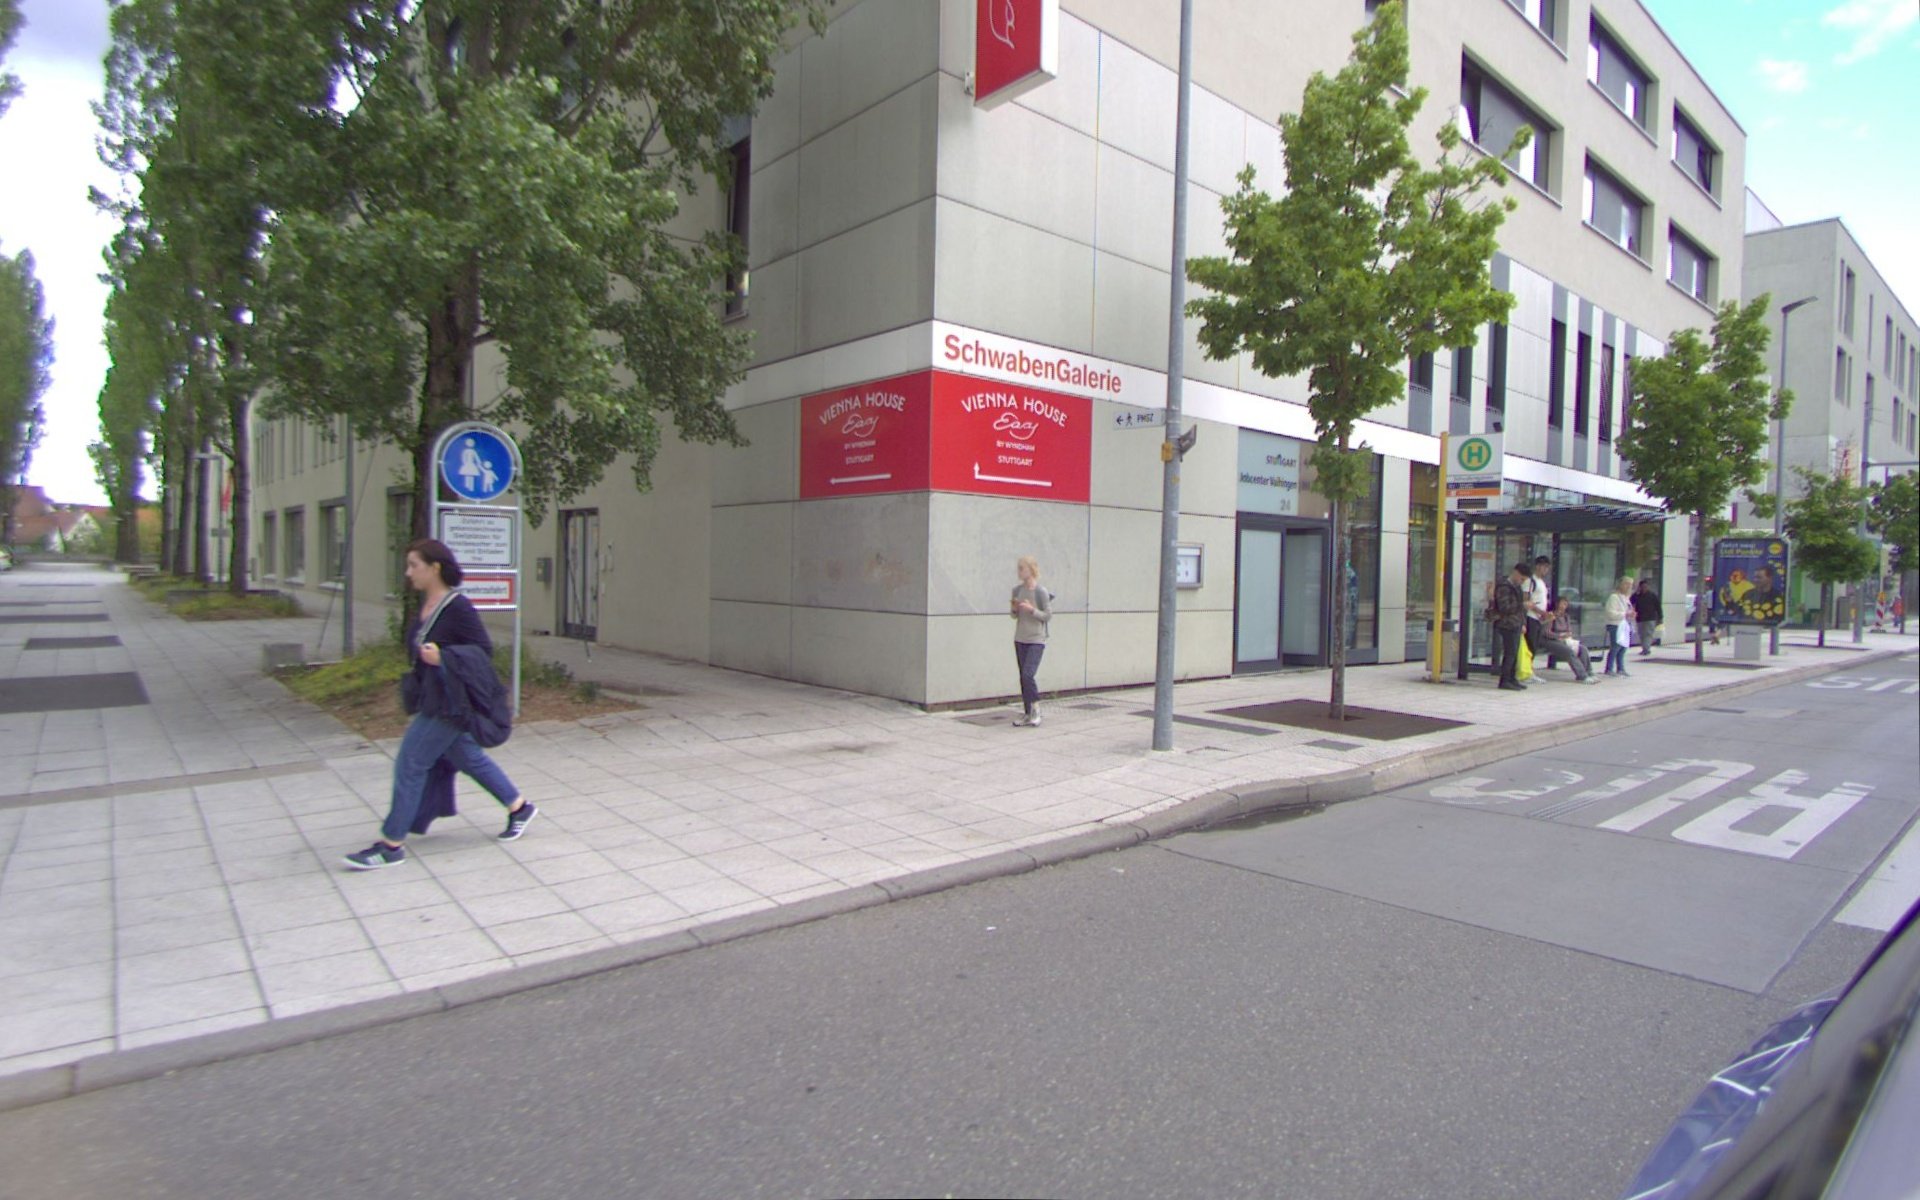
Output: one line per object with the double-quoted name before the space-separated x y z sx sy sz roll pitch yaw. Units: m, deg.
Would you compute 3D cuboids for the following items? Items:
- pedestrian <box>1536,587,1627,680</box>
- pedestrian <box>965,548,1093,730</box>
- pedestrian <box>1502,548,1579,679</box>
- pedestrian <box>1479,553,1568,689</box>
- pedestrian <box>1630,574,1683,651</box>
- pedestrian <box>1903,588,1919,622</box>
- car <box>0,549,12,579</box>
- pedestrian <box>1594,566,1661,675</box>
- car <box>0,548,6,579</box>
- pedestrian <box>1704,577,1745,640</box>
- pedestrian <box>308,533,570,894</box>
"pedestrian" 9.133 0.467 14.883 0.720 1.274 0.944 -1 3 -43
"pedestrian" 0.642 0.322 9.505 0.790 1.603 0.870 0 2 -41
"pedestrian" 8.240 0.171 14.364 0.840 1.791 0.581 0 3 -35
"pedestrian" 7.400 0.252 13.295 0.719 1.704 0.723 0 3 -35
"pedestrian" 15.073 0.253 21.912 0.702 1.628 0.742 0 2 -40
"pedestrian" 45.178 0.237 47.928 0.719 1.586 0.590 0 3 -41
"car" -55.659 -1.991 55.913 4.707 1.675 1.739 -1 0 -41
"pedestrian" 10.277 0.298 15.591 0.719 1.610 0.581 0 3 -35
"car" -54.526 -1.996 54.344 4.707 1.675 1.739 -1 0 -41
"pedestrian" 21.023 0.216 27.829 0.603 1.689 0.746 0 2 -40
"pedestrian" -2.669 0.481 5.172 0.998 1.603 0.949 0 2 -41
